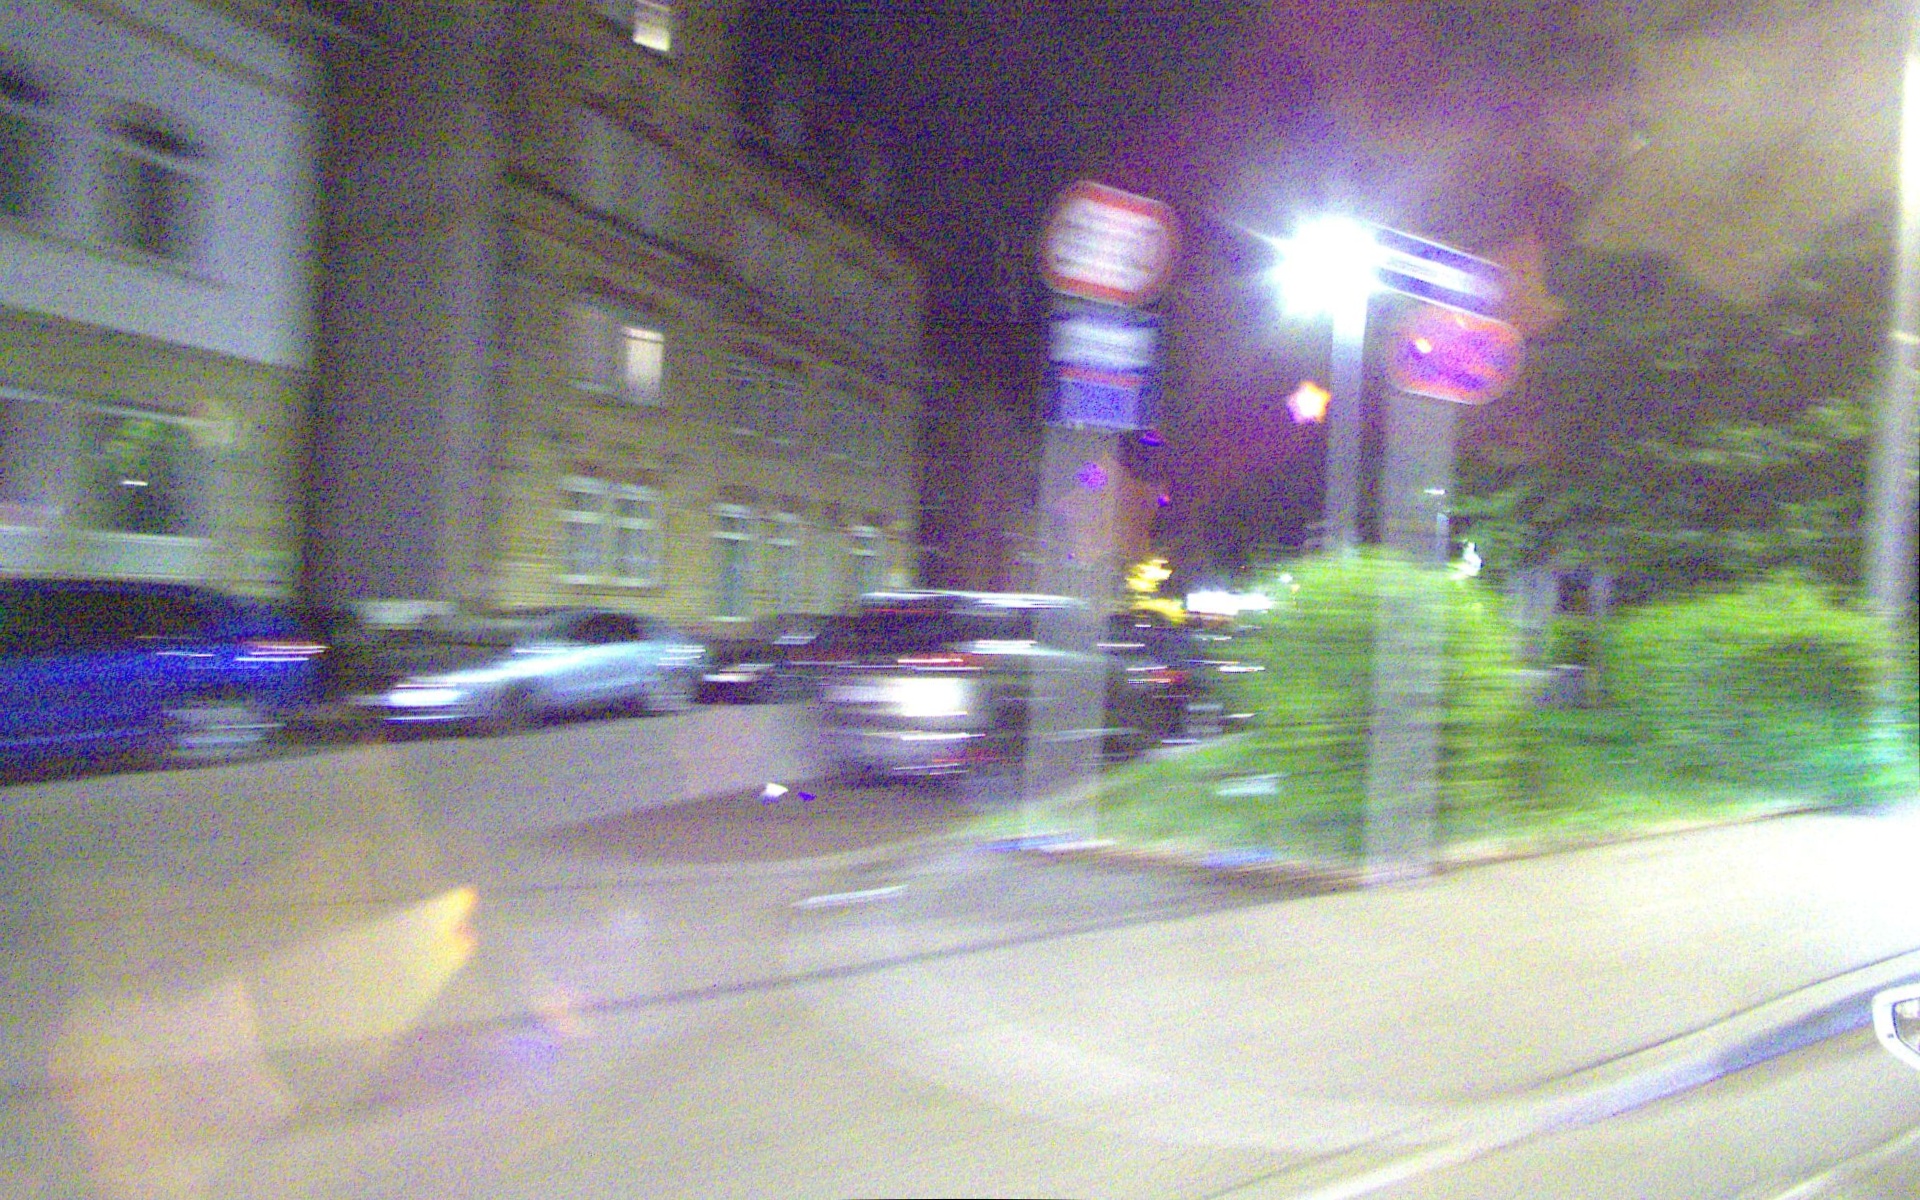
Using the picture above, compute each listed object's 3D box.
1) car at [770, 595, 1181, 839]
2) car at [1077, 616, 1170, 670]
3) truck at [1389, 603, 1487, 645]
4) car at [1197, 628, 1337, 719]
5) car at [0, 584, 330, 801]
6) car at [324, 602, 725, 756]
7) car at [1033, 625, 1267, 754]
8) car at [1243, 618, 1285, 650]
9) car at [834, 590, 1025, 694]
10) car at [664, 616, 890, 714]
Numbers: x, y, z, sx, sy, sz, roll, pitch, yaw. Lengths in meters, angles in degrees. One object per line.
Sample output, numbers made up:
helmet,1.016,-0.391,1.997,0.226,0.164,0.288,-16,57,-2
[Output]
car,0.399,0.842,8.943,1.857,1.624,4.099,0,-2,31
car,5.372,1.378,32.547,1.679,1.530,4.094,3,-1,28
truck,36.740,1.831,77.349,6.672,2.882,1.998,3,0,27
car,5.642,1.262,18.191,1.673,1.410,3.621,1,-1,29
car,-7.832,0.689,8.046,1.864,1.612,4.367,0,-1,29
car,-5.156,0.862,12.749,1.809,1.527,4.740,1,-1,22
car,2.733,1.100,13.672,1.934,1.401,3.993,1,-1,29
car,18.216,2.024,60.031,1.613,1.783,3.958,2,-1,28
car,-0.508,0.865,21.898,1.964,1.981,4.798,2,-1,29
car,-2.958,1.027,17.118,1.665,1.417,4.075,2,-1,26
